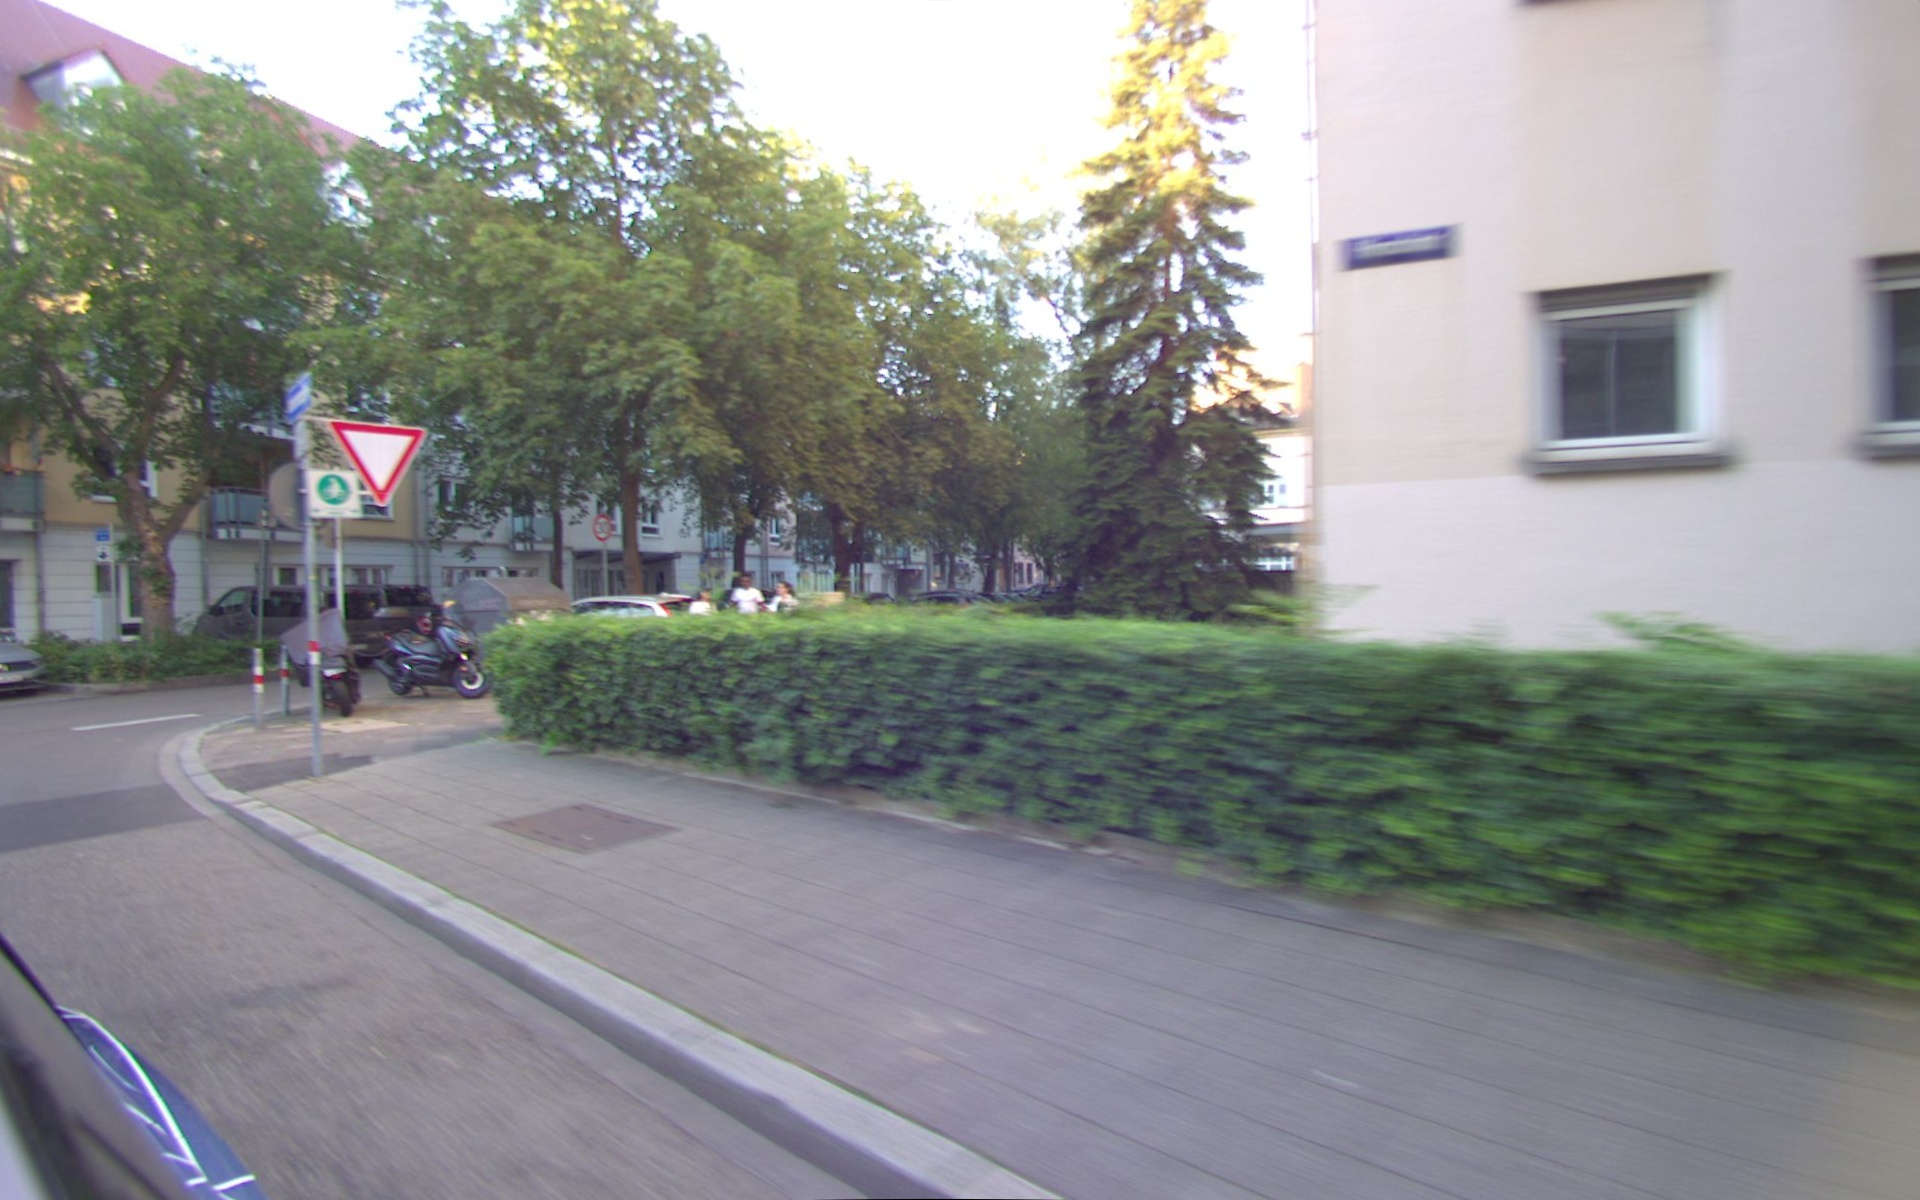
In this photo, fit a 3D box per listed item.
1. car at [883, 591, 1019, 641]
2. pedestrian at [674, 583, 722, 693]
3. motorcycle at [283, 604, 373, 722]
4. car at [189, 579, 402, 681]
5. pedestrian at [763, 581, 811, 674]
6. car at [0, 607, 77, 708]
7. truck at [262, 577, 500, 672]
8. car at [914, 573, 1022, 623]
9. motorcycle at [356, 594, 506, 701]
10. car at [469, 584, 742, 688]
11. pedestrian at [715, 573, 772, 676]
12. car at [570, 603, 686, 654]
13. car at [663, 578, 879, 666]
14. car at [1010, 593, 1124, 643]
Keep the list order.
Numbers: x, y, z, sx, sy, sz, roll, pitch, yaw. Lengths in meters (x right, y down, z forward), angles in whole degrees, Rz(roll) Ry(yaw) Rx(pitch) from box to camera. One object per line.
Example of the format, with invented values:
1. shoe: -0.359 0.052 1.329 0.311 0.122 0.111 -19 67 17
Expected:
1. car: -0.282 0.524 33.008 4.080 1.390 1.736 -3 0 19
2. pedestrian: -4.434 0.630 17.113 0.687 1.801 0.531 -2 0 -19
3. motorcycle: -8.245 0.768 13.159 0.712 1.384 2.228 -2 0 -39
4. car: -16.093 0.642 24.511 4.602 2.149 2.022 2 1 21
5. pedestrian: -3.017 0.465 17.609 0.657 1.583 0.444 -1 1 25
6. car: -18.582 1.064 18.287 4.773 1.717 1.825 -2 0 19
7. truck: -15.430 0.566 26.951 5.981 2.149 2.245 2 1 21
8. car: 0.304 -0.074 35.607 3.389 1.621 1.750 -2 0 19
9. motorcycle: -7.839 0.697 14.970 2.210 1.505 0.686 -2 0 23
10. car: -6.553 0.660 18.732 4.482 1.593 2.040 -4 0 22
11. pedestrian: -3.863 0.434 18.084 0.695 1.801 0.660 -2 0 25
12. car: -11.813 0.995 36.050 3.647 1.559 1.770 2 2 19
13. car: -4.299 0.512 23.148 4.375 1.697 2.051 -4 -1 19
14. car: 4.504 0.746 42.632 4.400 1.906 1.987 -3 0 21
